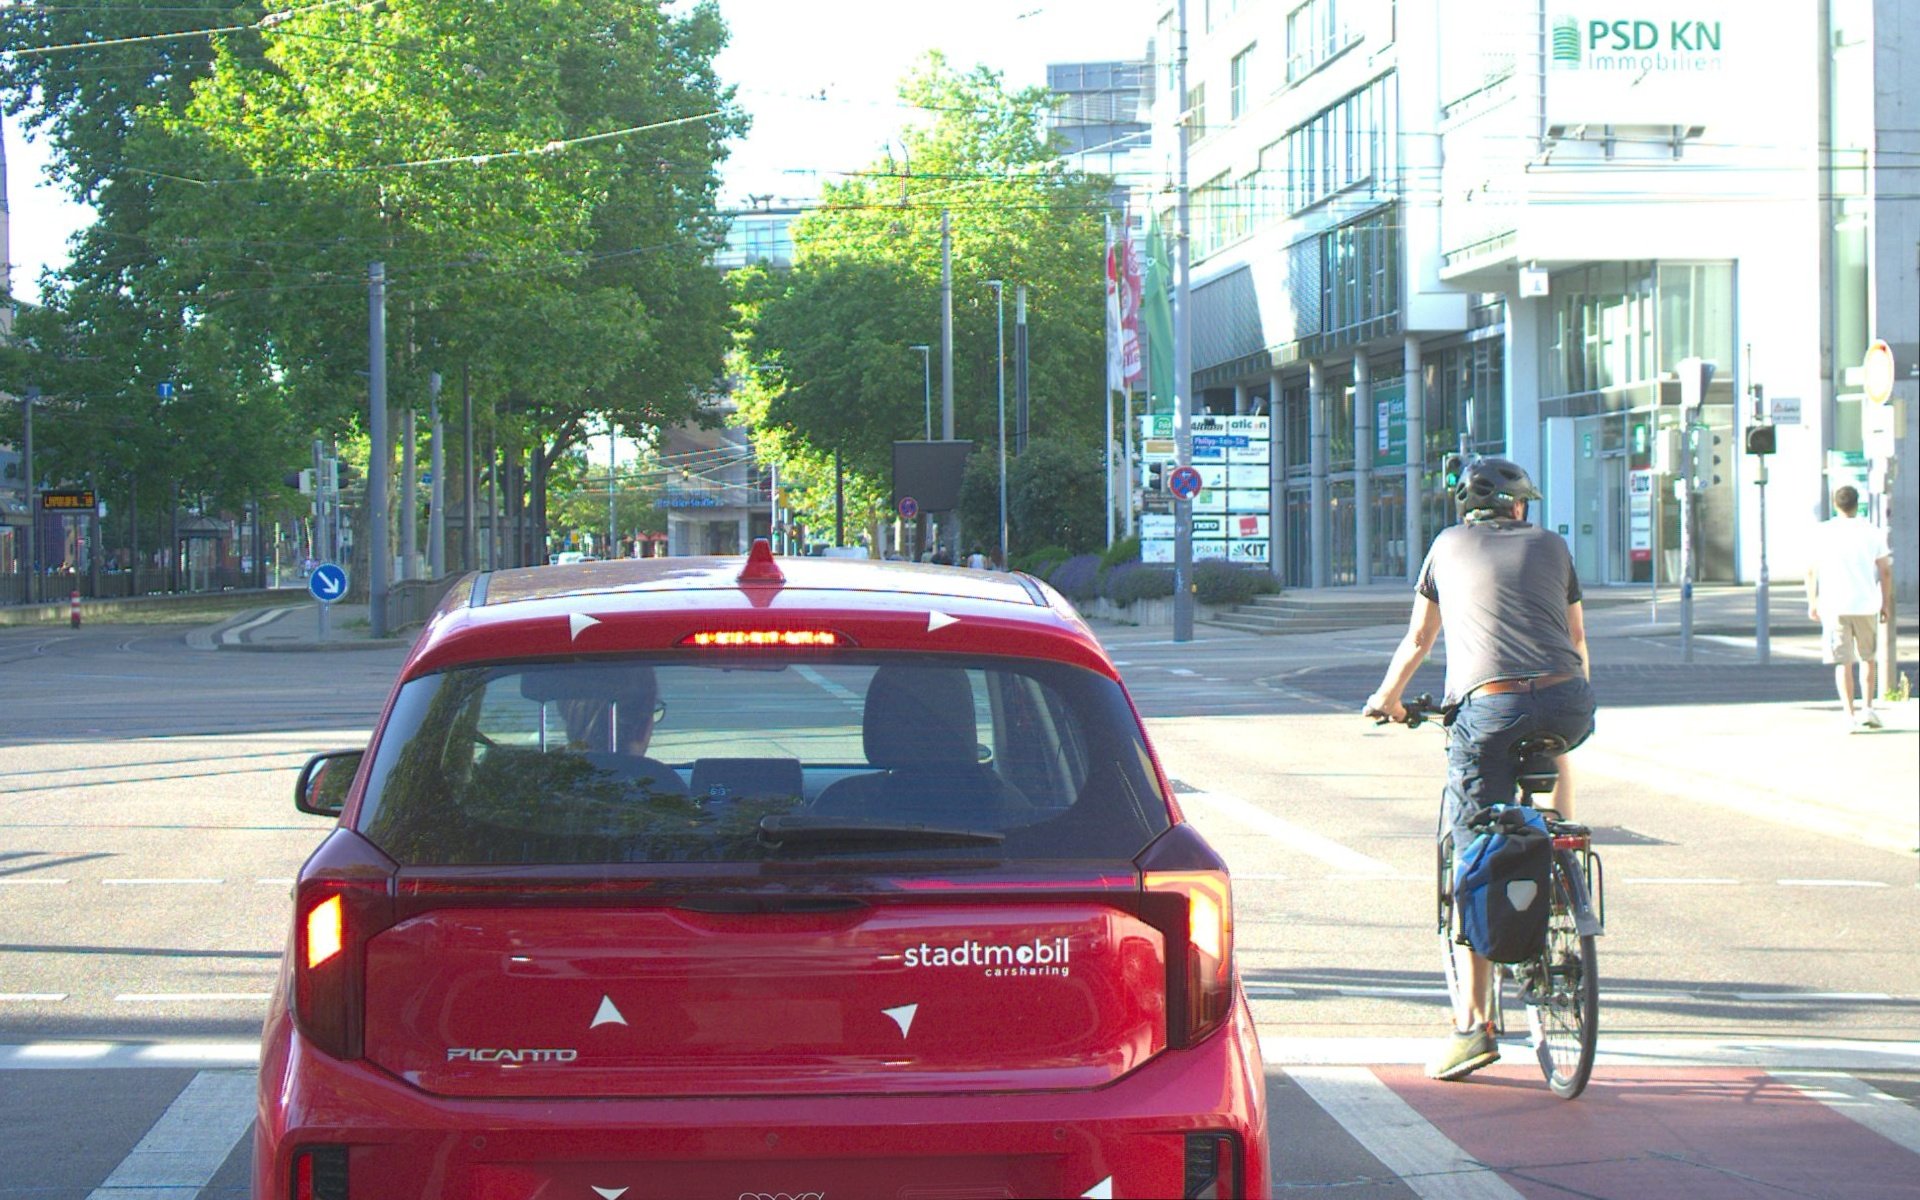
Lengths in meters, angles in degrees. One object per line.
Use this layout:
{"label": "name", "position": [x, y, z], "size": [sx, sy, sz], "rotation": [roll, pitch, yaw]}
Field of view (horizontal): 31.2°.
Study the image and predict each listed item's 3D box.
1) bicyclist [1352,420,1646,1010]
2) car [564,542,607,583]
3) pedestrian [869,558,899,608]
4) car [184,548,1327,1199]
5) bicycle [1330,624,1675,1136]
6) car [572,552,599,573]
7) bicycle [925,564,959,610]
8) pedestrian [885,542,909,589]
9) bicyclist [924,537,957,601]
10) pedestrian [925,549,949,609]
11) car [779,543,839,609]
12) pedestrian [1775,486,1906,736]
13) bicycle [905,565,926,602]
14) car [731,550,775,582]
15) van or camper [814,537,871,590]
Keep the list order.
{"label": "bicyclist", "position": [1.528, 0.304, 9.889], "size": [0.650, 1.597, 1.089], "rotation": [-1, 1, -1]}
{"label": "car", "position": [-19.120, -1.926, 175.497], "size": [1.993, 2.007, 4.001], "rotation": [-1, 1, -8]}
{"label": "pedestrian", "position": [-2.505, -0.558, 114.016], "size": [0.642, 1.574, 0.722], "rotation": [-4, 1, 23]}
{"label": "car", "position": [-0.433, 0.672, 6.573], "size": [1.613, 1.529, 3.412], "rotation": [0, 1, -5]}
{"label": "bicycle", "position": [1.517, 0.735, 9.919], "size": [0.650, 1.276, 1.966], "rotation": [-1, 1, -1]}
{"label": "car", "position": [-27.849, -2.809, 255.835], "size": [1.777, 1.529, 3.413], "rotation": [0, 1, -10]}
{"label": "bicycle", "position": [-0.476, -0.339, 88.811], "size": [0.696, 1.094, 1.751], "rotation": [-4, 2, -4]}
{"label": "pedestrian", "position": [-2.373, -1.300, 129.834], "size": [0.891, 1.747, 0.841], "rotation": [-1, 1, -1]}
{"label": "bicyclist", "position": [-0.510, -0.805, 88.741], "size": [0.721, 1.597, 1.089], "rotation": [-3, 1, -4]}
{"label": "pedestrian", "position": [-0.648, -0.606, 97.080], "size": [0.646, 1.674, 0.651], "rotation": [-1, 1, 2]}
{"label": "car", "position": [-4.306, -0.698, 97.491], "size": [1.635, 1.794, 3.330], "rotation": [-1, 1, -3]}
{"label": "pedestrian", "position": [6.581, 0.072, 25.740], "size": [0.777, 1.817, 1.215], "rotation": [-1, 1, 7]}
{"label": "bicycle", "position": [-1.250, -0.478, 97.072], "size": [0.520, 0.971, 2.202], "rotation": [-4, 2, 0]}
{"label": "car", "position": [-10.209, -1.677, 169.495], "size": [1.777, 1.529, 3.513], "rotation": [0, 1, -10]}
{"label": "van or camper", "position": [-4.544, -1.412, 132.294], "size": [1.993, 1.982, 4.745], "rotation": [0, 1, -4]}
